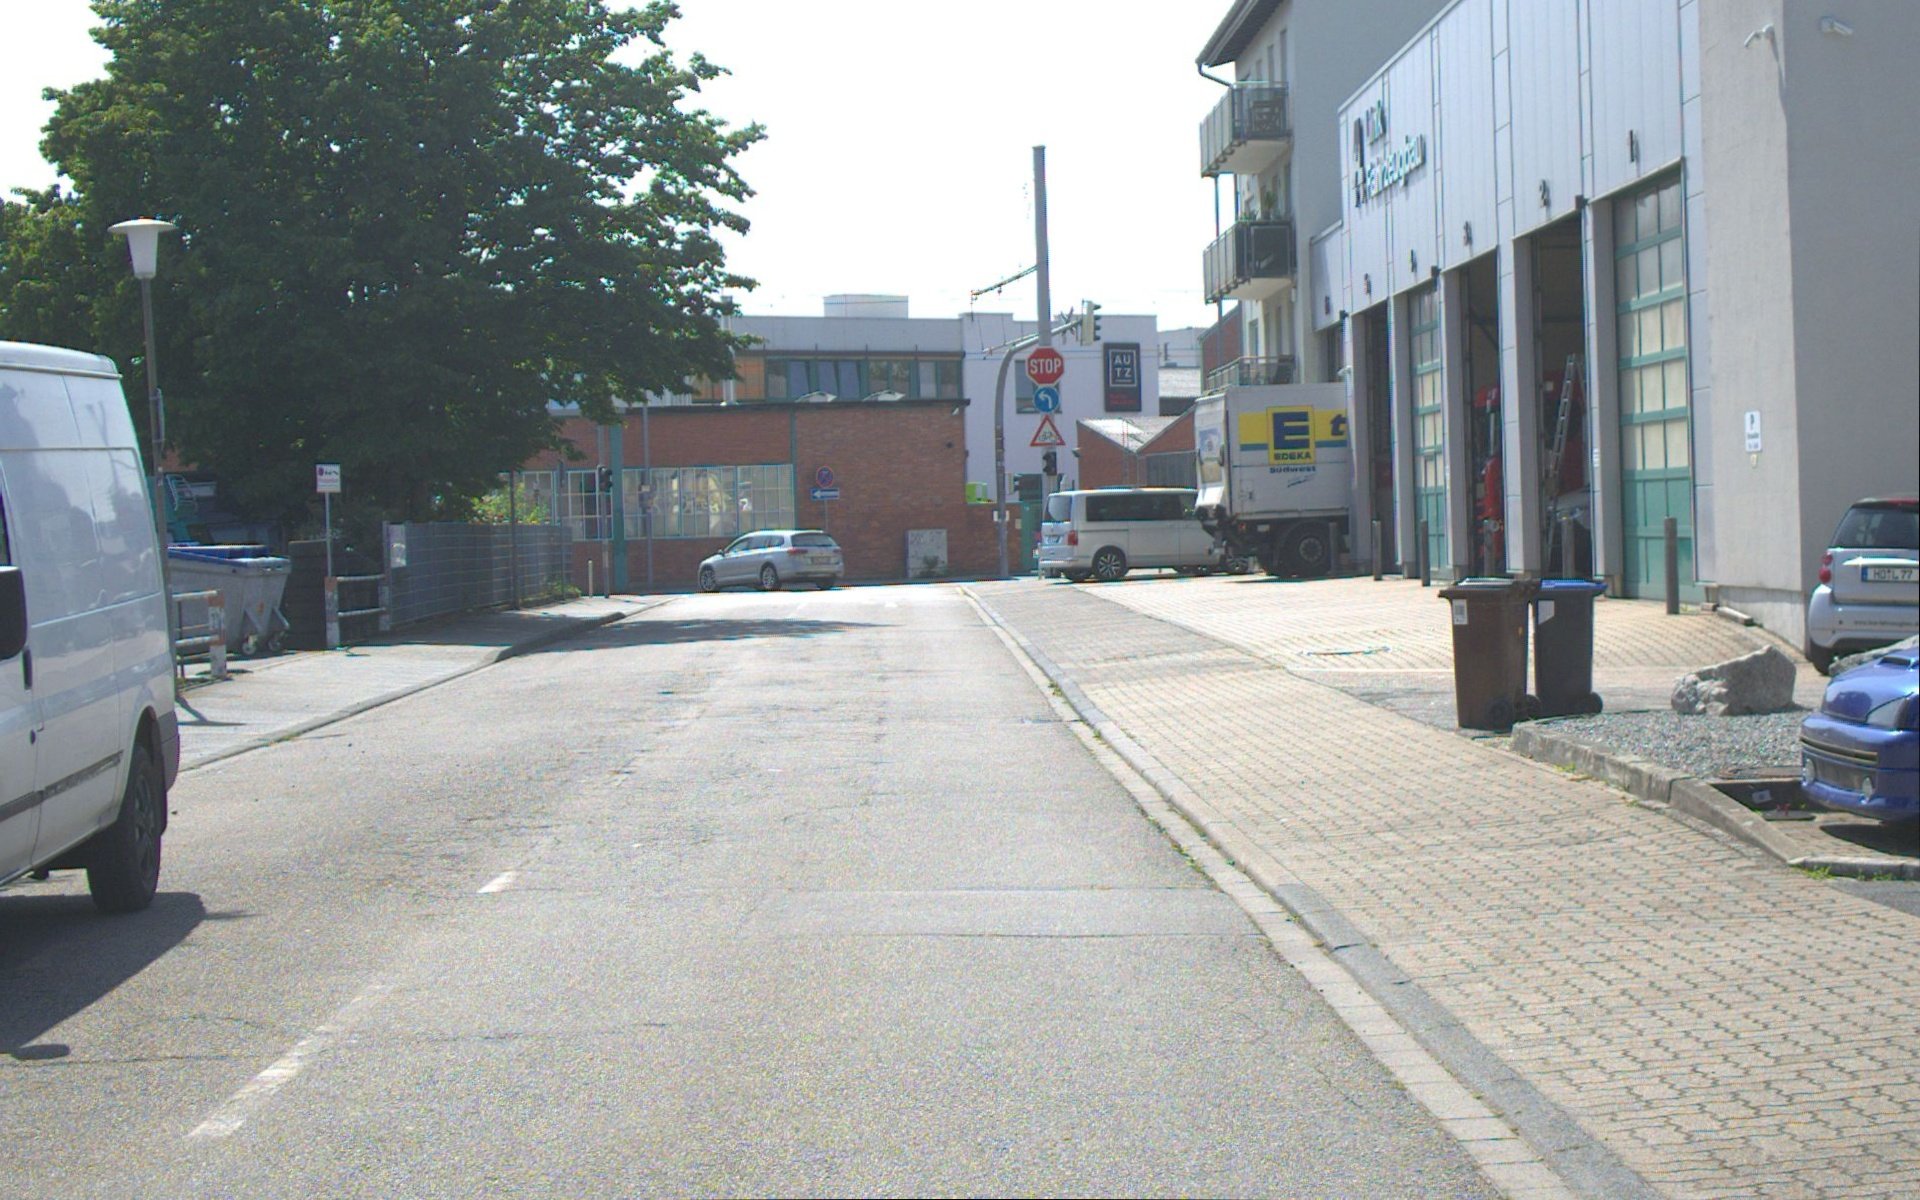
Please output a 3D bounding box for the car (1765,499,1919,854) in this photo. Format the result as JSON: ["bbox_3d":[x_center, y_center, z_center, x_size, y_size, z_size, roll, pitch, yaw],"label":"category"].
[{"bbox_3d":[5.225,0.237,14.431,3.253,1.394,1.673,-2,1,0],"label":"car"}]

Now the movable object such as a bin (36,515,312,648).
[{"bbox_3d":[-9.856,-0.254,43.313,2.627,1.505,2.728,-2,2,5],"label":"movable object such as a bin"}]

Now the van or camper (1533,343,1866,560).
[{"bbox_3d":[11.783,-2.353,54.937,4.755,3.277,2.000,-2,1,-4],"label":"van or camper"}]

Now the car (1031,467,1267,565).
[{"bbox_3d":[4.069,-1.821,74.040,4.653,1.951,1.917,-2,2,-19],"label":"car"}]

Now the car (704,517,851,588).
[{"bbox_3d":[-4.547,-1.193,85.245,1.890,1.679,3.958,0,2,-34],"label":"car"}]

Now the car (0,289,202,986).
[{"bbox_3d":[-4.321,0.134,12.673,2.005,2.358,5.230,-3,1,-3],"label":"car"}]

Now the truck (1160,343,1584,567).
[{"bbox_3d":[7.806,-2.761,65.649,7.357,3.632,2.768,-5,2,-7],"label":"truck"}]

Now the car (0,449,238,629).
[{"bbox_3d":[-12.840,-0.892,50.418,4.085,2.504,1.777,-2,1,-2],"label":"car"}]

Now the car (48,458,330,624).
[{"bbox_3d":[-12.350,-0.952,55.248,4.085,2.504,1.777,-2,1,-2],"label":"car"}]

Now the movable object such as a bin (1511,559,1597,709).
[{"bbox_3d":[3.885,0.220,22.462,0.514,0.943,0.487,-2,1,11],"label":"movable object such as a bin"}]

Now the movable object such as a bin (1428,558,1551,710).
[{"bbox_3d":[3.398,0.218,22.046,0.568,0.943,0.556,-1,2,33],"label":"movable object such as a bin"}]

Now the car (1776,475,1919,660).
[{"bbox_3d":[8.886,-0.347,30.238,1.777,1.534,3.694,-1,2,41],"label":"car"}]
